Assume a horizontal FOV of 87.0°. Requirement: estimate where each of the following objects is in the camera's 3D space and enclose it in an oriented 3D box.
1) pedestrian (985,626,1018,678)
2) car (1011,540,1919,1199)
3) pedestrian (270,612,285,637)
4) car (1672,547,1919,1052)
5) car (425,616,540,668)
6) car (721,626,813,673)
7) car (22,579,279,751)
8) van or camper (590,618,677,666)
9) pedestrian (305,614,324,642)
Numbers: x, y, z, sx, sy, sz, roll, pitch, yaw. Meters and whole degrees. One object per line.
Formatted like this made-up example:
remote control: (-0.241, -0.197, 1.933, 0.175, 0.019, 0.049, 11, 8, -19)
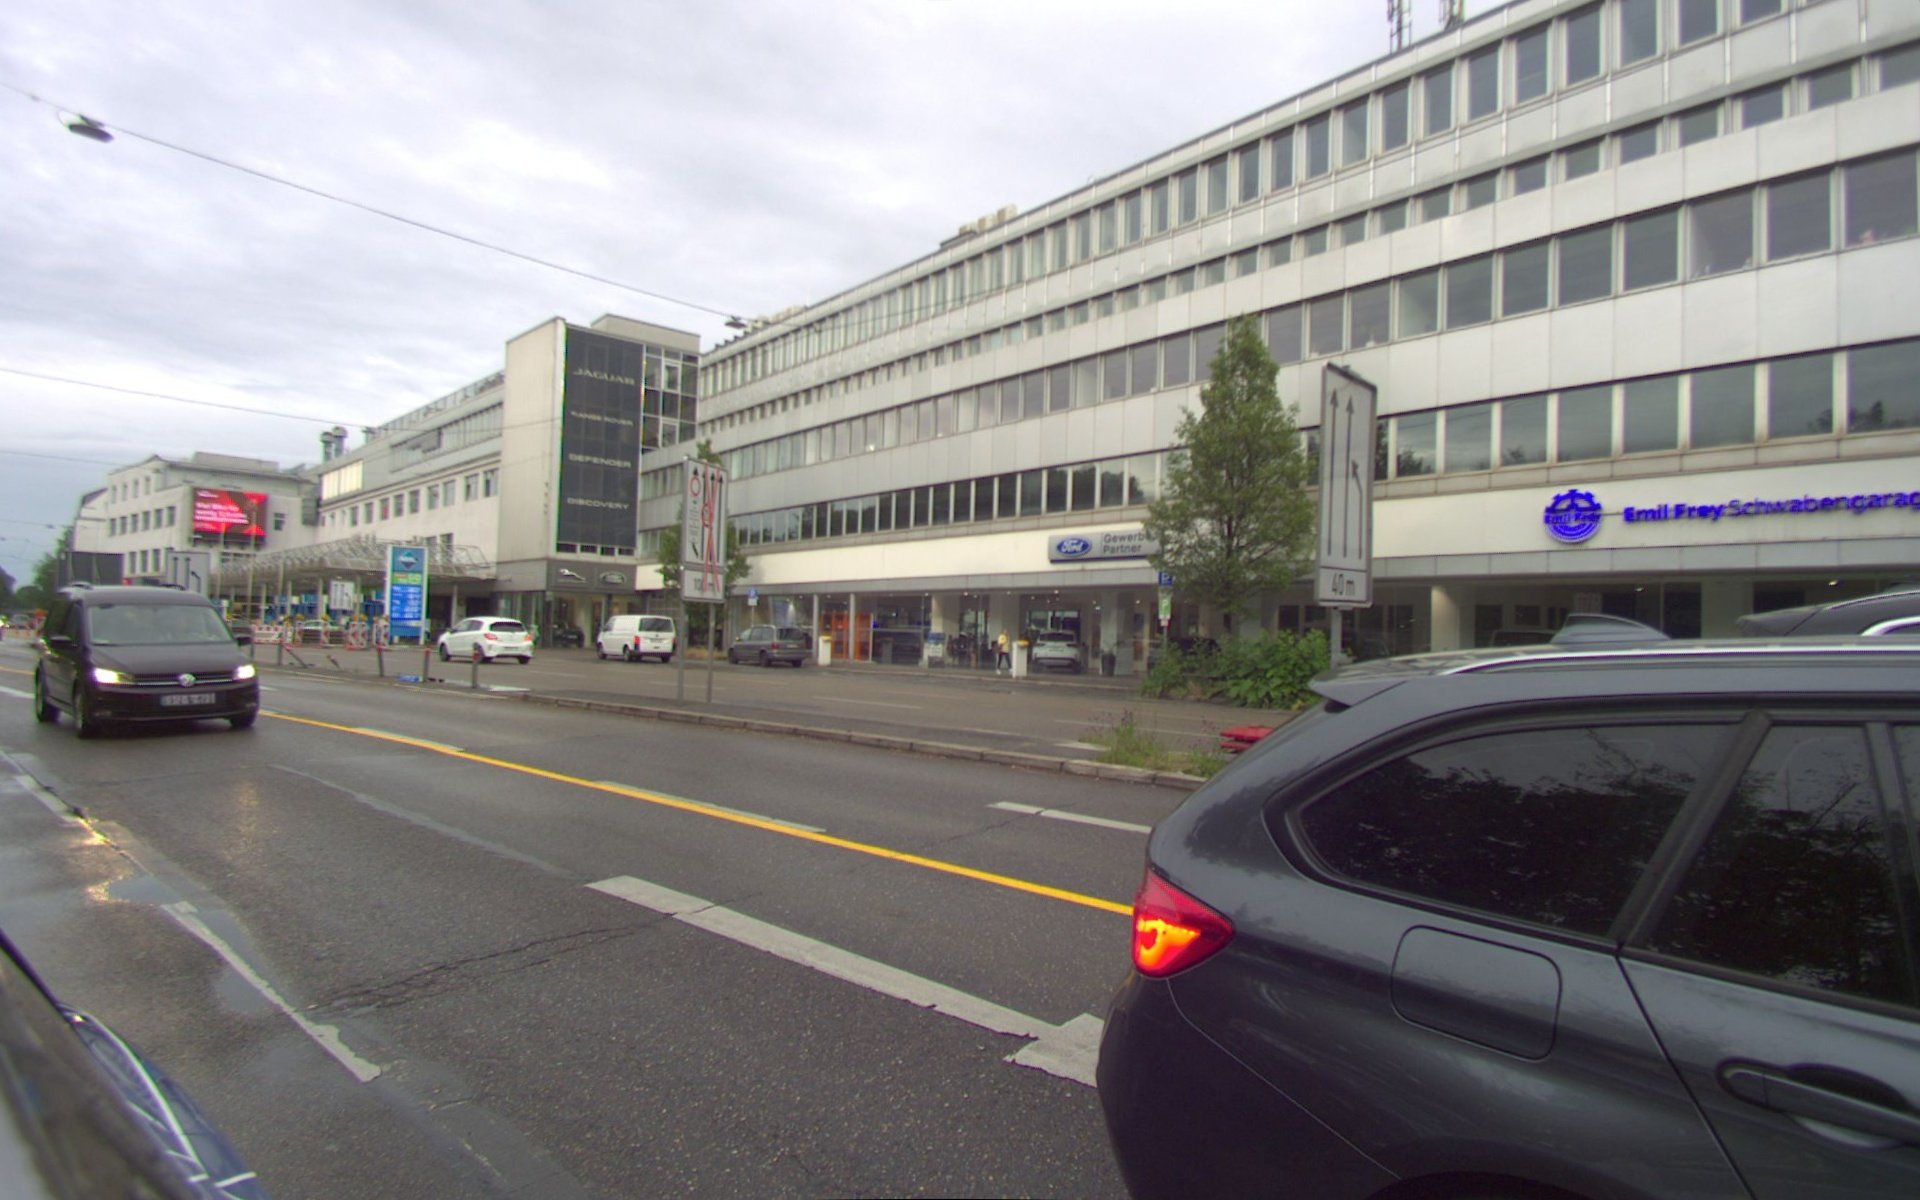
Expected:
pedestrian: (1.461, 1.824, 35.710, 0.750, 1.788, 0.865, -1, 0, -42)
car: (2.340, 0.691, 1.073, 4.476, 1.469, 1.757, -1, -3, 42)
pedestrian: (-50.937, 1.847, 75.512, 0.881, 1.828, 0.943, -1, 0, -35)
car: (4.901, 0.638, 2.923, 4.445, 1.668, 1.789, -1, 0, 44)
car: (-15.644, 1.383, 33.106, 3.758, 1.544, 1.784, -1, -6, 37)
car: (-8.289, 2.066, 43.164, 1.895, 1.829, 4.169, -1, 0, -44)
car: (-10.441, 0.698, 12.927, 4.429, 1.828, 1.880, -1, 0, 42)
van or camper: (-13.936, 1.764, 43.071, 1.911, 1.938, 4.692, 2, -2, -39)
pedestrian: (-42.410, 1.843, 66.482, 0.882, 1.828, 0.942, -1, 0, -45)
